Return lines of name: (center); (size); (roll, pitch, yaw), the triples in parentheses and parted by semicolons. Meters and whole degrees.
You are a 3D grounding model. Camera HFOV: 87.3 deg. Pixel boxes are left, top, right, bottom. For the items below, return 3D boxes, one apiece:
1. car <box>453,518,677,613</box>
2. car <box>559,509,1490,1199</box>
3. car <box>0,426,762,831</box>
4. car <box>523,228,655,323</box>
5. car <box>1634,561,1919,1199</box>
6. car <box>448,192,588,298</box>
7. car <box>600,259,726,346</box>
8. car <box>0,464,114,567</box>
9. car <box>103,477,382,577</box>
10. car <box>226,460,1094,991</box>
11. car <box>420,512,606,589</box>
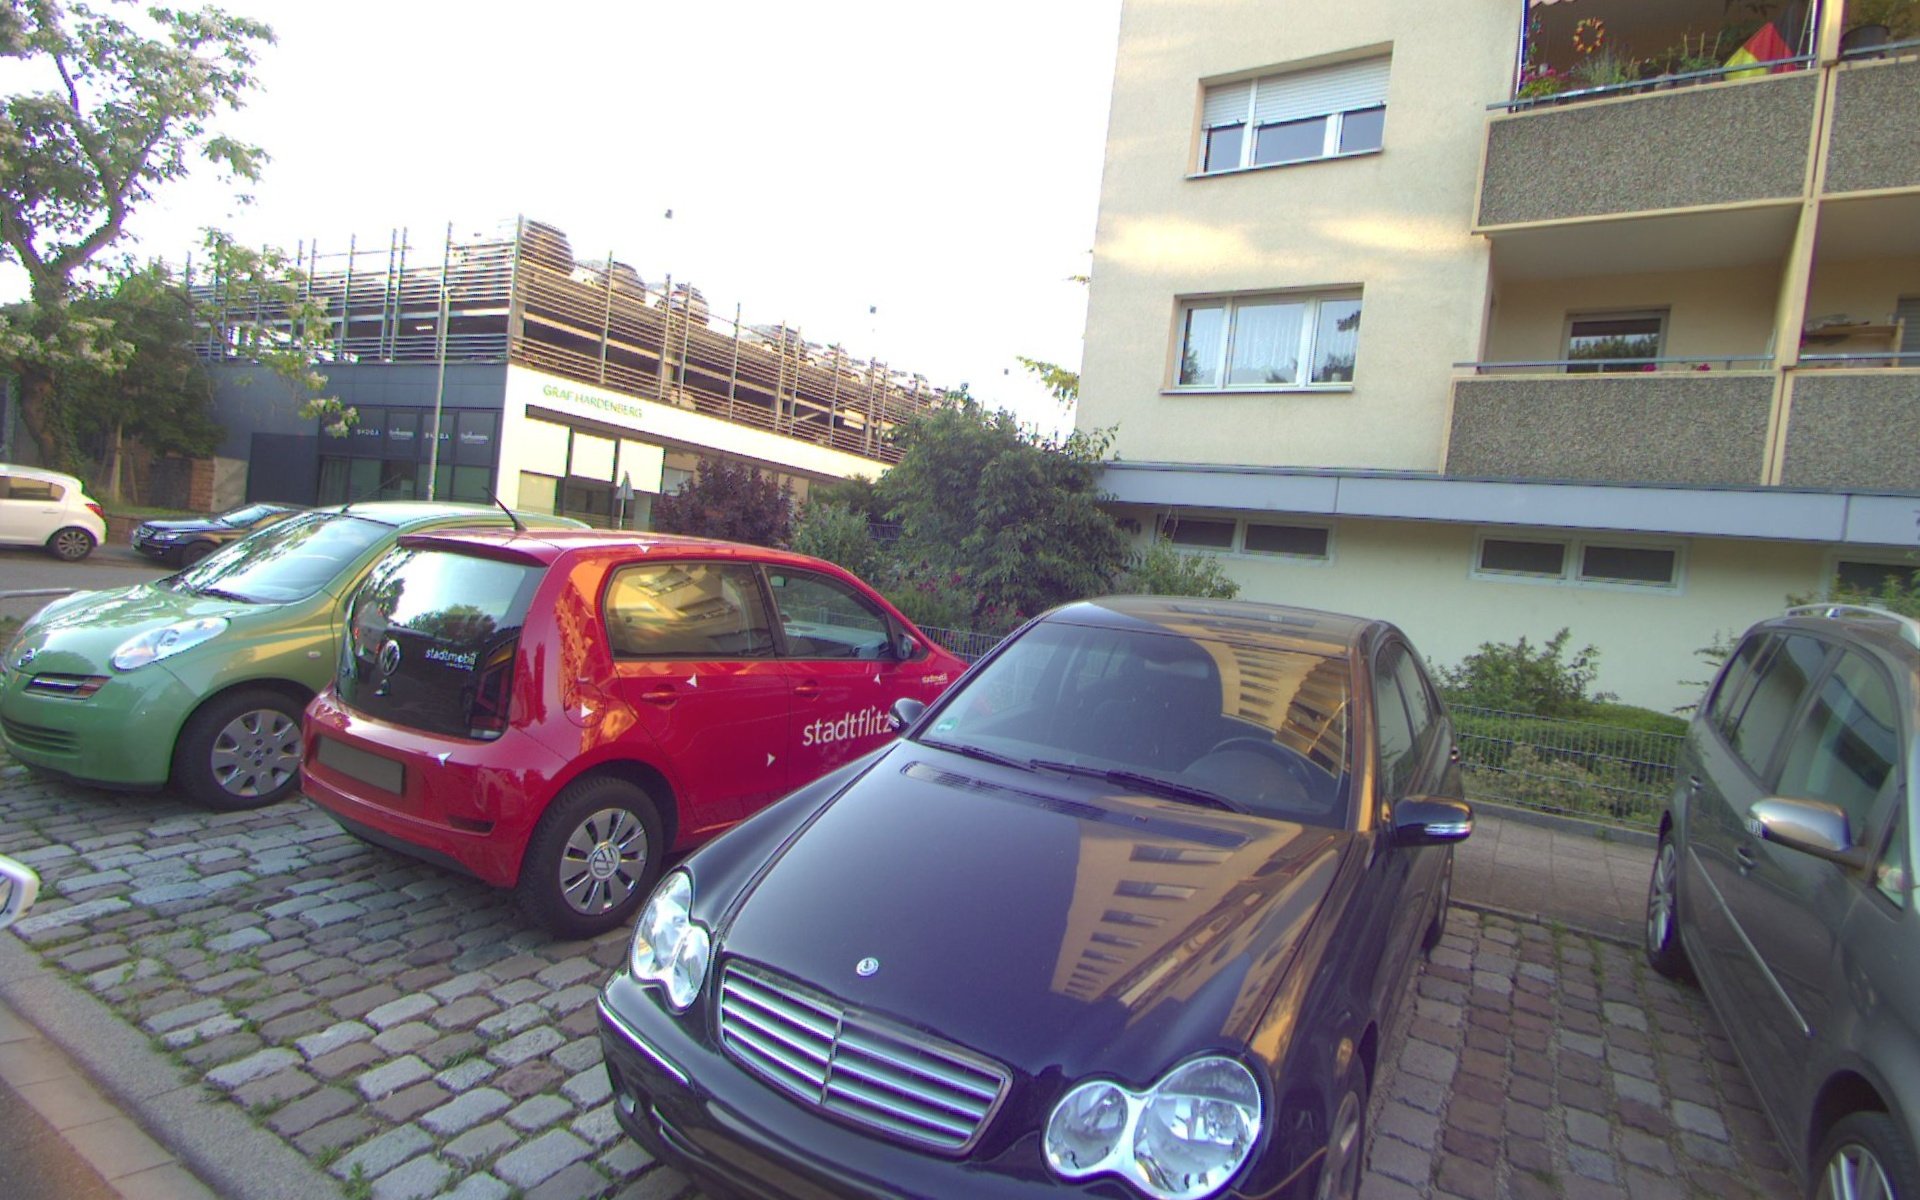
car: (-7.956, -0.656, 20.539); (1.794, 1.544, 3.835); (7, 2, 35)
car: (0.931, 0.677, 3.864); (1.814, 1.551, 4.407); (5, 1, 28)
car: (-3.447, 0.108, 6.466); (1.814, 1.653, 4.407); (5, 1, 28)
car: (-11.987, -10.374, 32.455); (3.938, 2.039, 1.994); (7, 0, 36)
car: (3.259, 0.826, 2.724); (1.814, 1.684, 4.405); (5, 3, 28)
car: (-13.308, -10.574, 30.249); (3.938, 2.039, 1.994); (7, 0, 36)
car: (-10.249, -10.148, 34.603); (3.938, 2.039, 1.994); (7, 0, 36)
car: (-17.217, -1.617, 17.087); (1.924, 1.594, 3.861); (8, 1, 29)
car: (-14.629, -1.444, 20.740); (1.794, 1.523, 4.290); (7, 2, 35)
car: (-1.095, 0.312, 5.521); (1.815, 1.655, 4.398); (7, 5, 32)
car: (-11.203, -1.212, 25.428); (1.794, 1.523, 3.835); (7, 2, 35)
